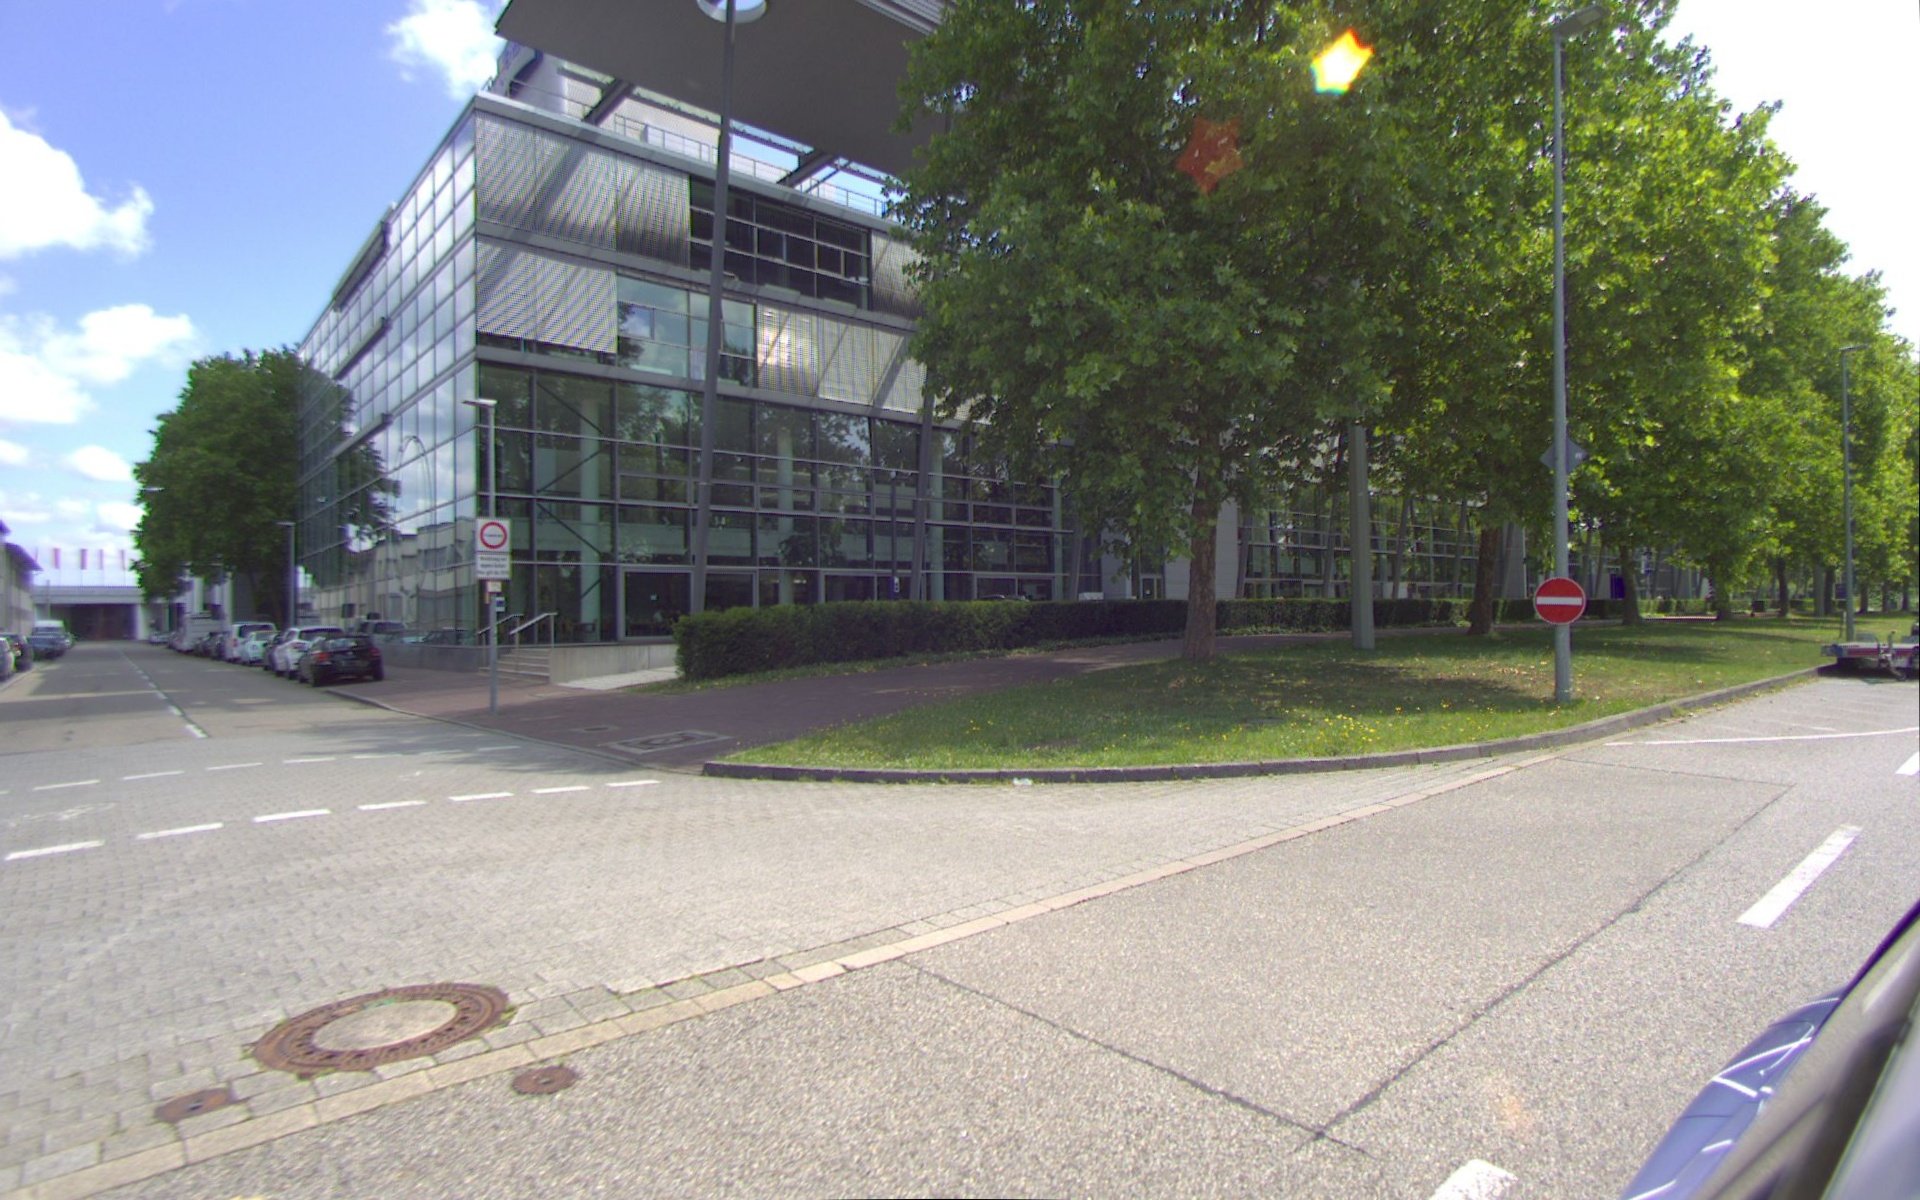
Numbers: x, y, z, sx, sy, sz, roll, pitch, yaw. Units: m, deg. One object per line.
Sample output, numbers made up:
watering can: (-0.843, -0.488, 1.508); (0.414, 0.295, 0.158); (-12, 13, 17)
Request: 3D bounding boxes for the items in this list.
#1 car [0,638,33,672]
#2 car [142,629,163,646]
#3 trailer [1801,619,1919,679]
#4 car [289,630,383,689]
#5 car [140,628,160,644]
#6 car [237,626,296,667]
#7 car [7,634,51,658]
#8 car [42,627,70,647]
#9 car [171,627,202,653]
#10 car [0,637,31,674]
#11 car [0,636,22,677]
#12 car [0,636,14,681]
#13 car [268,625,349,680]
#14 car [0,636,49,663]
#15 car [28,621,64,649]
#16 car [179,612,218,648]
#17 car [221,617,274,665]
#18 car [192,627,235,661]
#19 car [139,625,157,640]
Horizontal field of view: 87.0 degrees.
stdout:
car: (-43.162, 2.443, 45.606); (1.830, 1.465, 4.062); (3, -4, -41)
car: (-92.887, 4.296, 116.392); (1.786, 1.794, 3.995); (-3, 1, -39)
trailer: (18.580, 0.877, 19.710); (6.701, 0.838, 2.301); (-1, 0, -41)
car: (-18.215, 1.660, 29.458); (1.786, 1.435, 3.995); (-5, 2, -39)
car: (-97.149, 4.301, 121.465); (1.786, 1.794, 3.995); (-3, 1, -39)
car: (-30.325, 2.000, 44.226); (1.786, 1.567, 3.995); (-3, 0, -39)
car: (-57.580, 2.845, 62.651); (1.830, 1.465, 4.062); (3, -4, -41)
car: (-88.275, 3.633, 98.855); (1.786, 1.794, 3.995); (-3, 1, -39)
car: (-60.025, 3.089, 78.535); (1.786, 1.794, 3.995); (-3, 1, -39)
car: (-39.631, 2.275, 41.679); (1.830, 1.465, 4.062); (3, -4, -41)
car: (-35.980, 2.062, 37.310); (1.830, 1.465, 4.062); (3, -4, -41)
car: (-32.997, 1.924, 33.791); (1.830, 1.465, 4.062); (3, -4, -41)
car: (-21.483, 1.677, 33.309); (1.786, 1.567, 3.995); (-5, 2, -39)
car: (-54.089, 2.841, 58.569); (1.830, 1.465, 4.062); (3, -4, -41)
car: (-72.366, 2.748, 80.172); (1.786, 2.061, 3.995); (-2, 0, -39)
car: (-53.097, 2.105, 70.512); (1.959, 2.336, 4.597); (-3, 0, -39)
car: (-34.228, 1.941, 48.575); (1.786, 2.108, 3.995); (-2, 0, -39)
car: (-43.340, 2.508, 58.703); (1.786, 1.794, 3.995); (-3, 1, -39)
car: (-107.078, 4.243, 133.502); (1.786, 1.794, 3.995); (-3, 1, -39)
